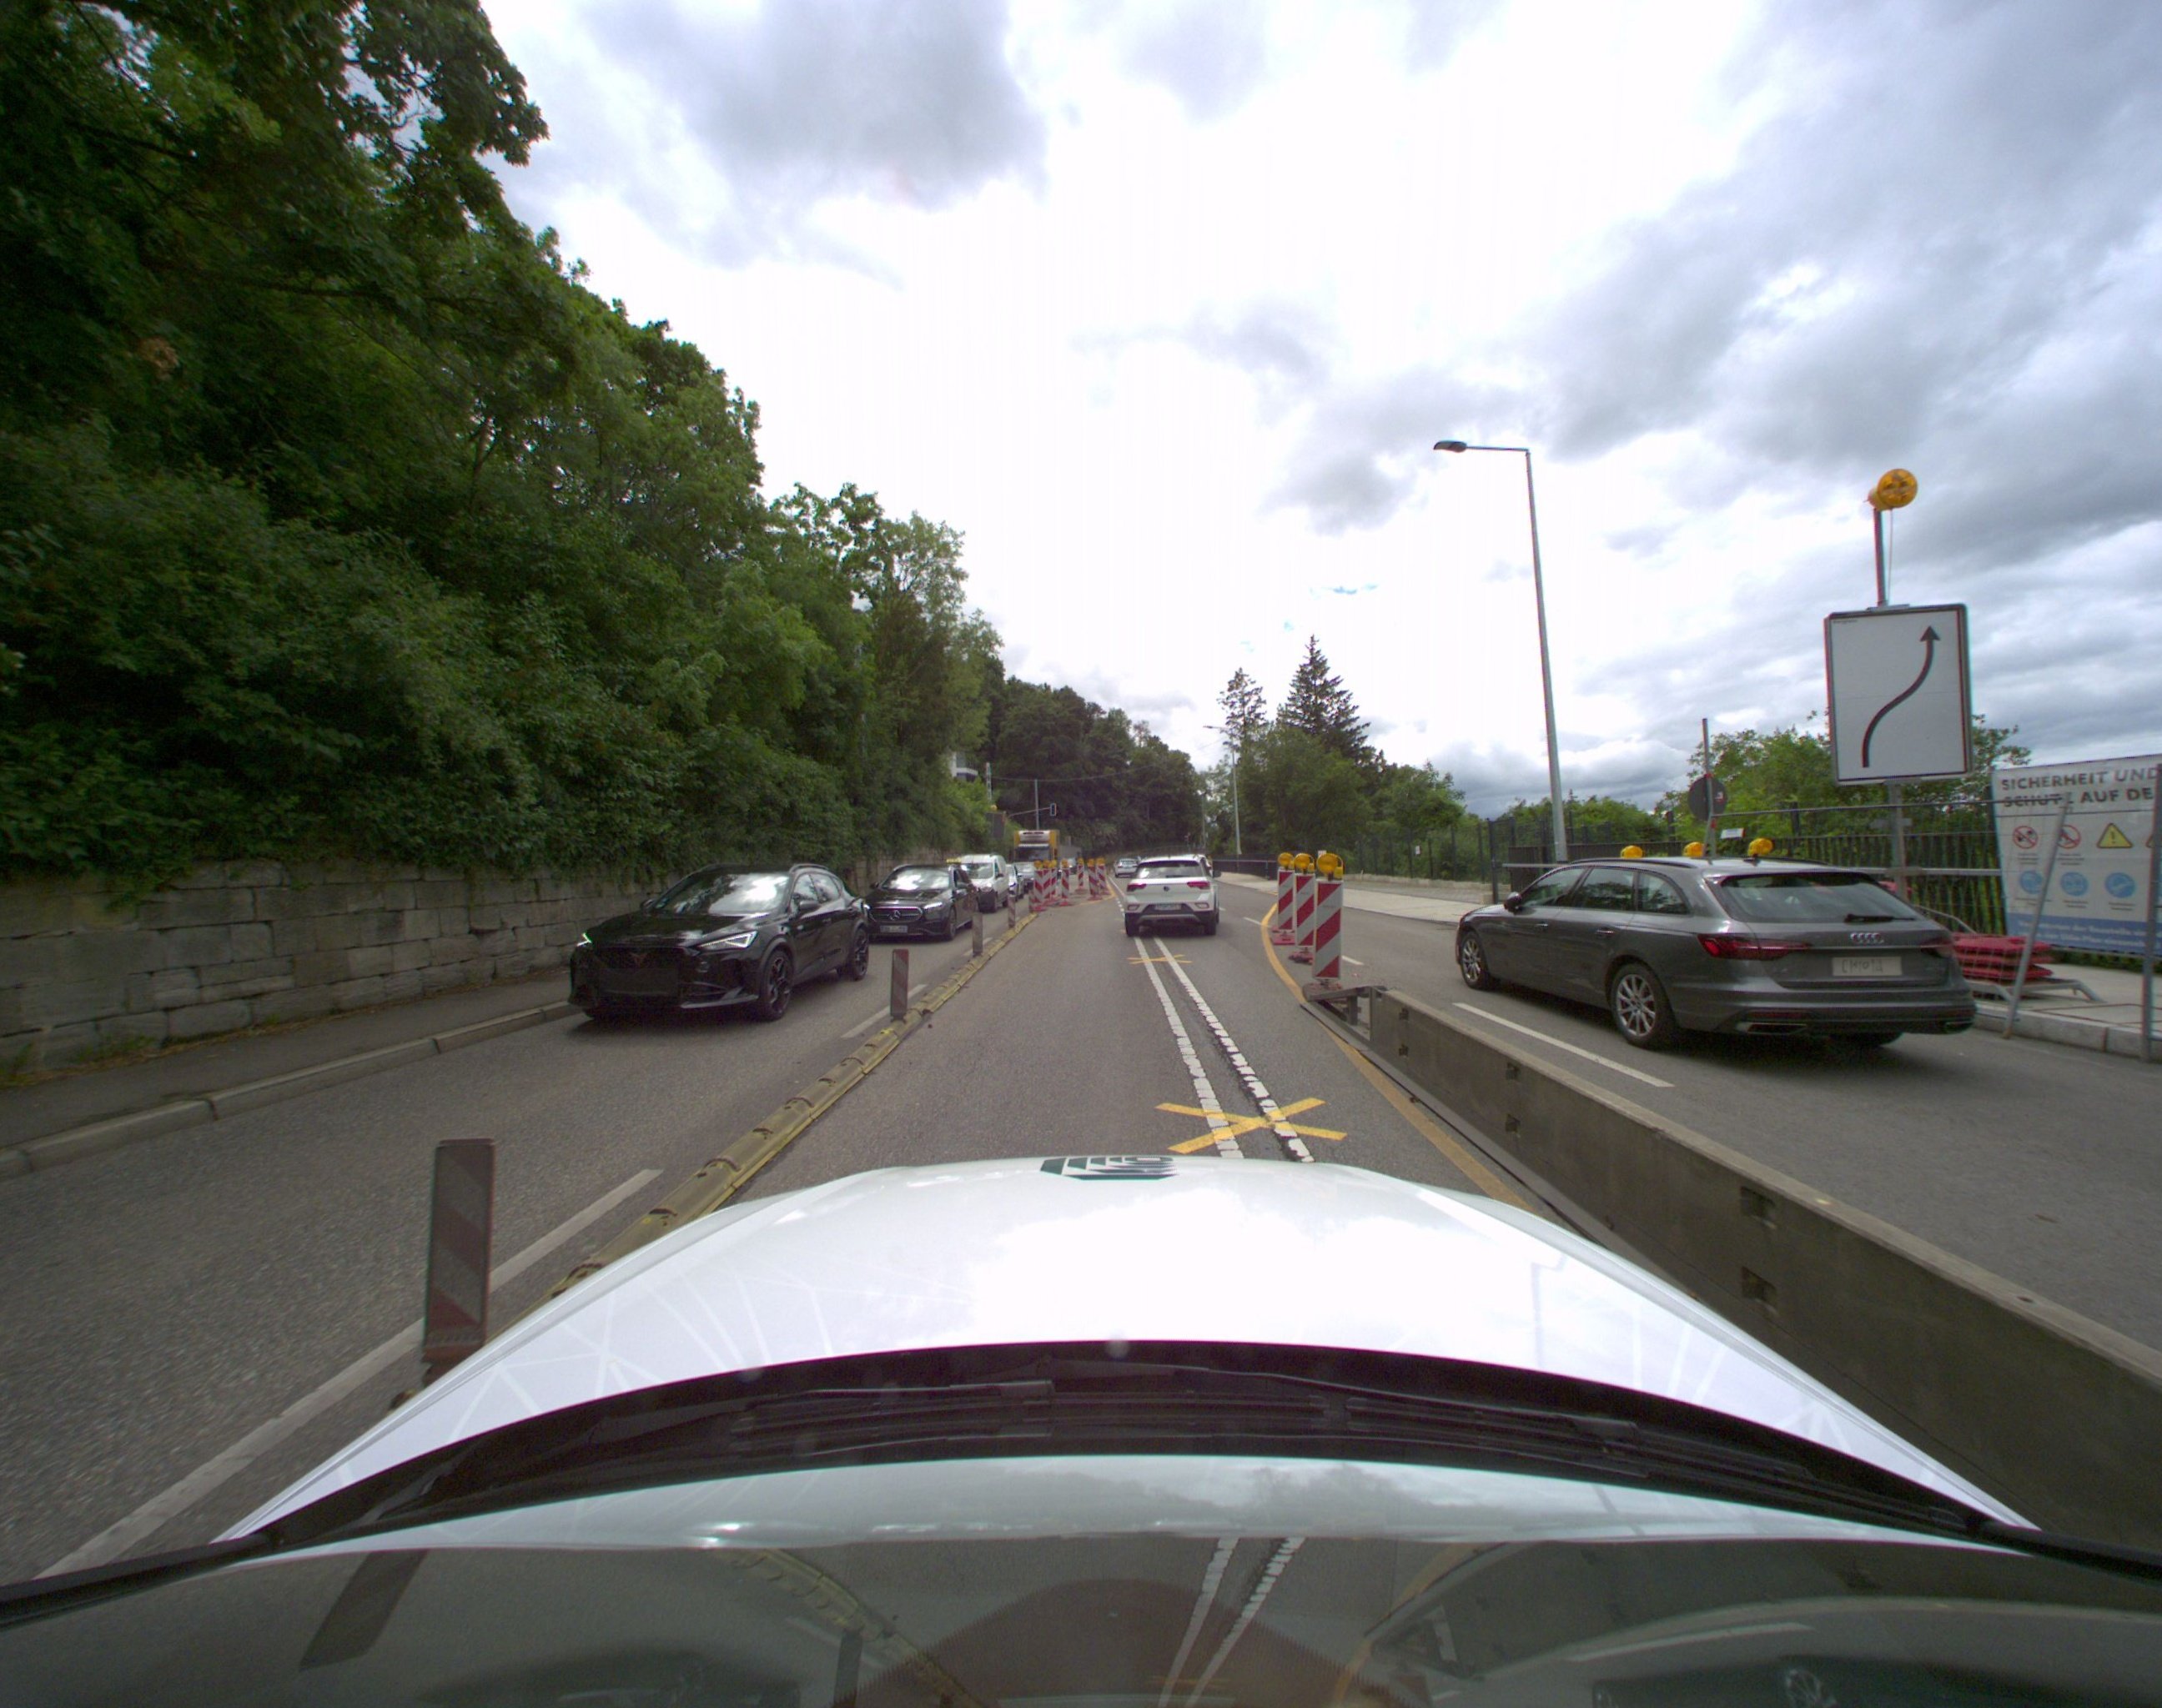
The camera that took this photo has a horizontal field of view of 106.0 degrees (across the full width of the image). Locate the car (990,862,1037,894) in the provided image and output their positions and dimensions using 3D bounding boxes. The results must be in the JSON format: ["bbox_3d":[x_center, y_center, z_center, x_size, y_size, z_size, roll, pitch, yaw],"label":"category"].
[{"bbox_3d":[-3.193,1.132,39.206,1.764,1.441,4.746,0,-1,1],"label":"car"}]

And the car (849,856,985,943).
[{"bbox_3d":[-3.308,0.869,17.376,1.824,1.592,4.656,0,-1,1],"label":"car"}]

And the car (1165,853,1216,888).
[{"bbox_3d":[5.225,0.765,39.432,1.987,1.586,4.000,0,-1,1],"label":"car"}]

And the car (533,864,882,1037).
[{"bbox_3d":[-3.749,0.853,9.184,1.822,1.485,4.319,0,-1,2],"label":"car"}]

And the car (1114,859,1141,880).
[{"bbox_3d":[3.704,1.227,65.296,1.901,1.574,3.998,0,-1,-1],"label":"car"}]

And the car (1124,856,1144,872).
[{"bbox_3d":[5.676,1.074,86.180,1.805,1.689,4.009,0,-1,8],"label":"car"}]

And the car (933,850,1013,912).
[{"bbox_3d":[-3.335,0.810,25.883,1.796,1.790,4.344,0,-1,2],"label":"car"}]

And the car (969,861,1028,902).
[{"bbox_3d":[-3.133,1.022,31.668,1.785,1.507,4.312,0,-1,1],"label":"car"}]

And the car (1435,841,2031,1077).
[{"bbox_3d":[5.105,0.673,7.445,1.833,1.455,4.629,-1,0,2],"label":"car"}]

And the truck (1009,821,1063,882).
[{"bbox_3d":[-2.750,-0.091,51.895,2.721,3.510,7.353,-2,-1,2],"label":"truck"}]

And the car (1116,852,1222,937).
[{"bbox_3d":[1.943,0.770,16.997,1.855,1.536,3.815,-2,-1,11],"label":"car"}]

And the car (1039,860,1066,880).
[{"bbox_3d":[-2.199,1.226,64.111,1.803,1.430,4.876,-1,0,1],"label":"car"}]

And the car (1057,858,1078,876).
[{"bbox_3d":[-1.337,1.298,81.319,1.876,1.697,4.672,-2,0,1],"label":"car"}]

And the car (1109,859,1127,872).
[{"bbox_3d":[4.474,1.352,98.359,1.700,1.466,3.670,-1,0,10],"label":"car"}]

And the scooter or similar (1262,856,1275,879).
[{"bbox_3d":[10.290,0.738,44.762,0.531,1.226,1.209,-3,0,8],"label":"scooter or similar"}]
